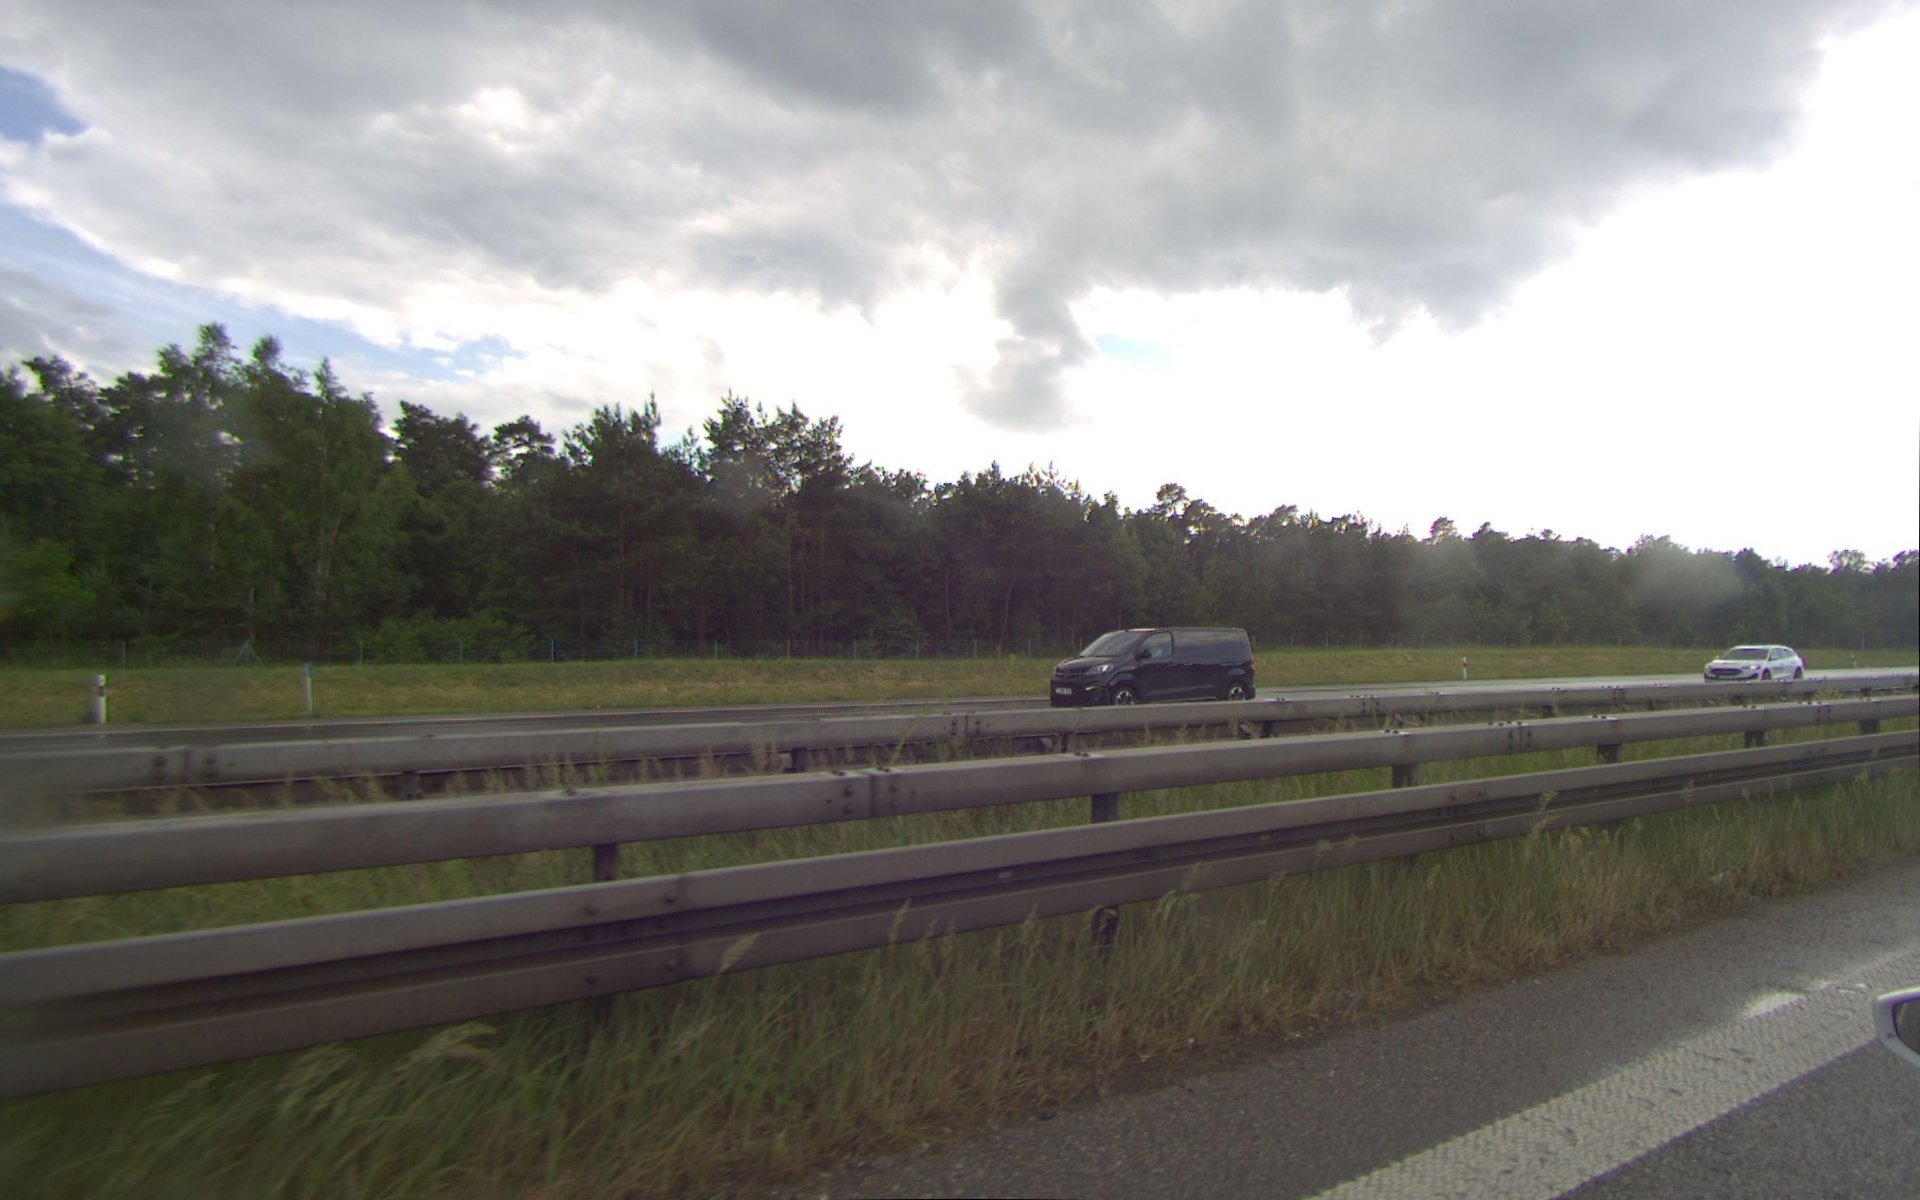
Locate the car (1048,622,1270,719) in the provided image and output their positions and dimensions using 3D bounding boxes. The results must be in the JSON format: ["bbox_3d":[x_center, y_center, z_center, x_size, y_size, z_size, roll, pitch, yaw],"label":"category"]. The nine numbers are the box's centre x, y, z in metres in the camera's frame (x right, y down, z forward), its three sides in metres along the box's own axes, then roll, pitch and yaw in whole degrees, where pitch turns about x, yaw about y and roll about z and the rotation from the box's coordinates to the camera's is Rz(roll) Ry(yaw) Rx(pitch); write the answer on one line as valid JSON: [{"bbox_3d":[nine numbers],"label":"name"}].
[{"bbox_3d":[4.413,1.509,22.130,4.669,1.941,1.985,1,-4,-31],"label":"car"}]

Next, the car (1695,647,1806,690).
[{"bbox_3d":[28.991,2.477,36.826,4.272,1.464,1.840,2,-3,-32],"label":"car"}]
